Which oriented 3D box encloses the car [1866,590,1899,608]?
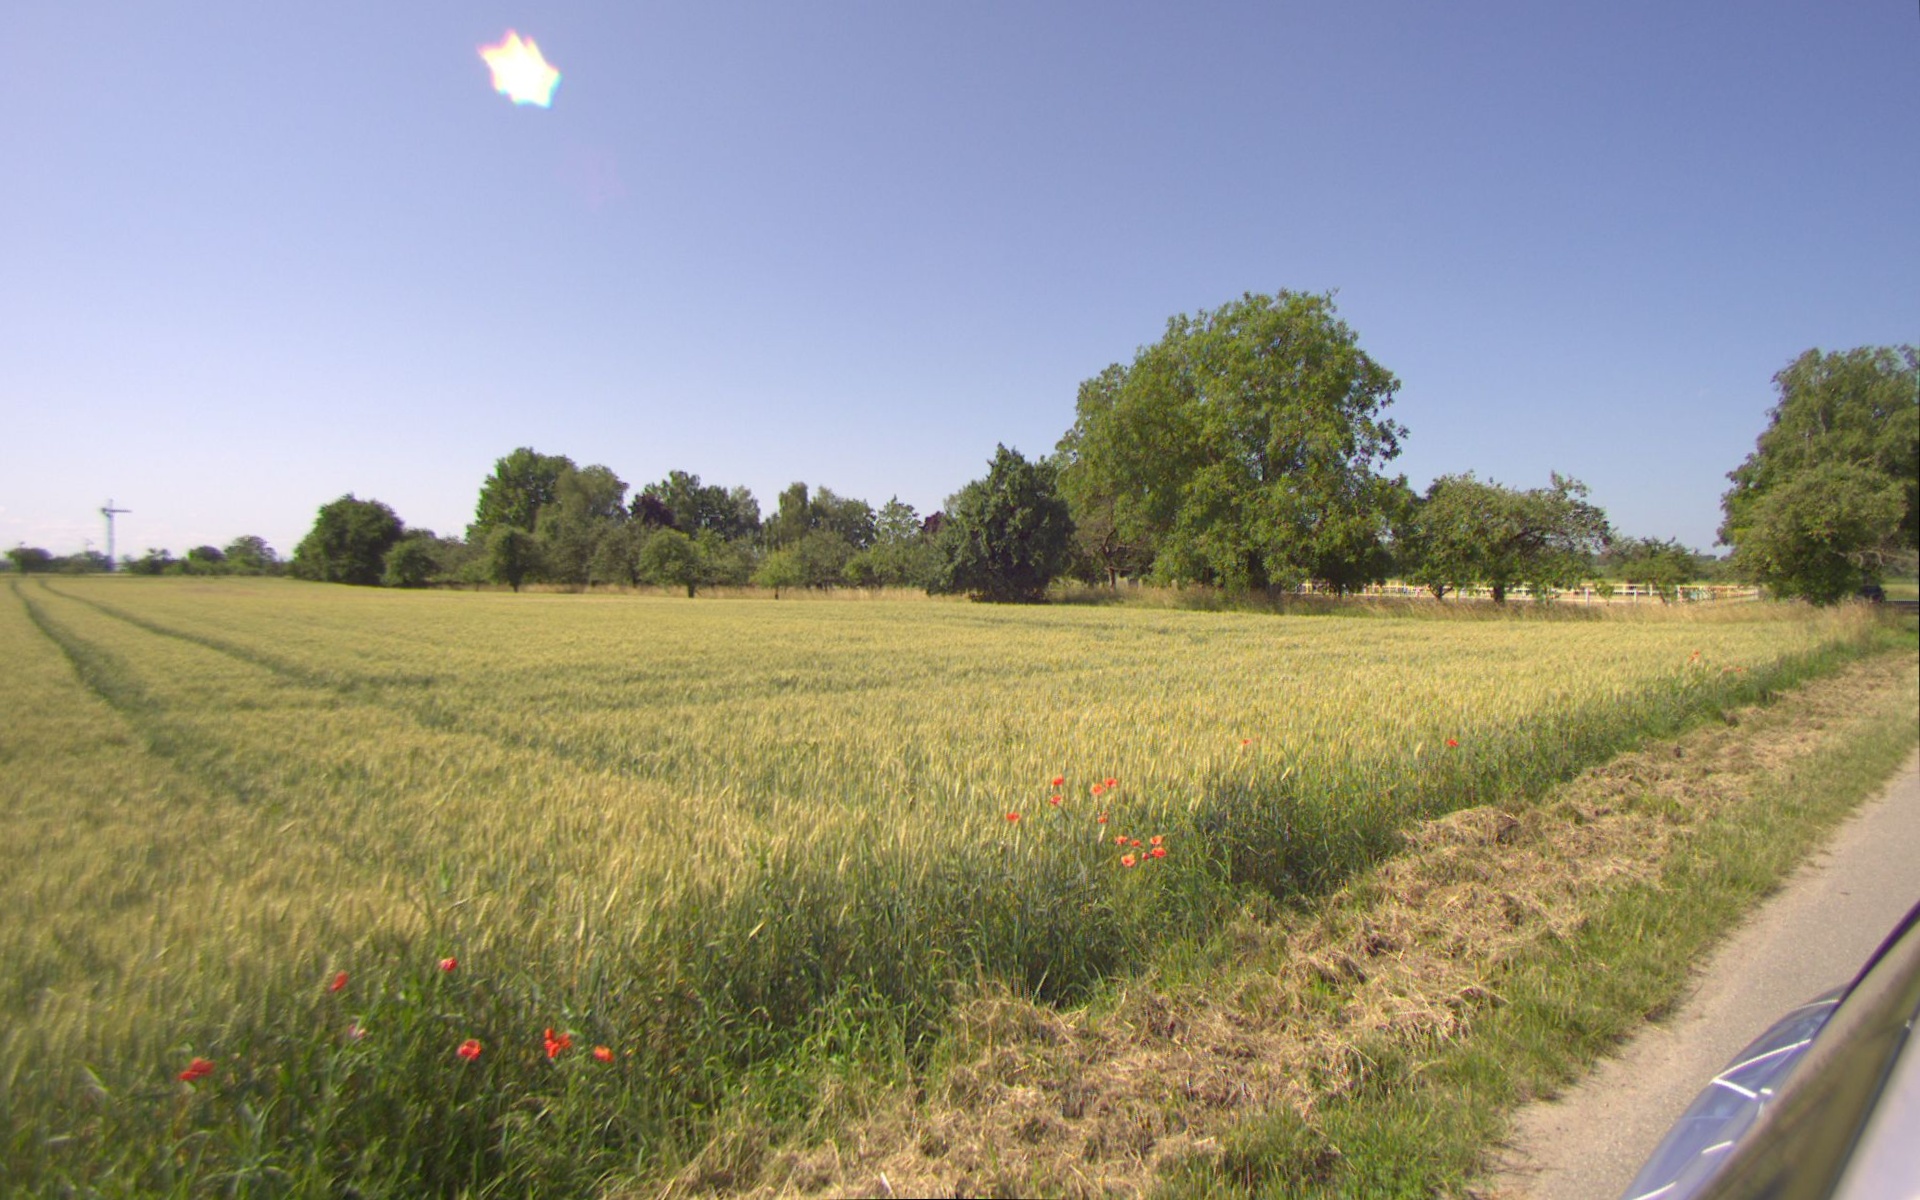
[{"bbox_3d":[72.921,-0.109,80.045,1.715,1.336,3.689,1,2,40],"label":"car"}]
